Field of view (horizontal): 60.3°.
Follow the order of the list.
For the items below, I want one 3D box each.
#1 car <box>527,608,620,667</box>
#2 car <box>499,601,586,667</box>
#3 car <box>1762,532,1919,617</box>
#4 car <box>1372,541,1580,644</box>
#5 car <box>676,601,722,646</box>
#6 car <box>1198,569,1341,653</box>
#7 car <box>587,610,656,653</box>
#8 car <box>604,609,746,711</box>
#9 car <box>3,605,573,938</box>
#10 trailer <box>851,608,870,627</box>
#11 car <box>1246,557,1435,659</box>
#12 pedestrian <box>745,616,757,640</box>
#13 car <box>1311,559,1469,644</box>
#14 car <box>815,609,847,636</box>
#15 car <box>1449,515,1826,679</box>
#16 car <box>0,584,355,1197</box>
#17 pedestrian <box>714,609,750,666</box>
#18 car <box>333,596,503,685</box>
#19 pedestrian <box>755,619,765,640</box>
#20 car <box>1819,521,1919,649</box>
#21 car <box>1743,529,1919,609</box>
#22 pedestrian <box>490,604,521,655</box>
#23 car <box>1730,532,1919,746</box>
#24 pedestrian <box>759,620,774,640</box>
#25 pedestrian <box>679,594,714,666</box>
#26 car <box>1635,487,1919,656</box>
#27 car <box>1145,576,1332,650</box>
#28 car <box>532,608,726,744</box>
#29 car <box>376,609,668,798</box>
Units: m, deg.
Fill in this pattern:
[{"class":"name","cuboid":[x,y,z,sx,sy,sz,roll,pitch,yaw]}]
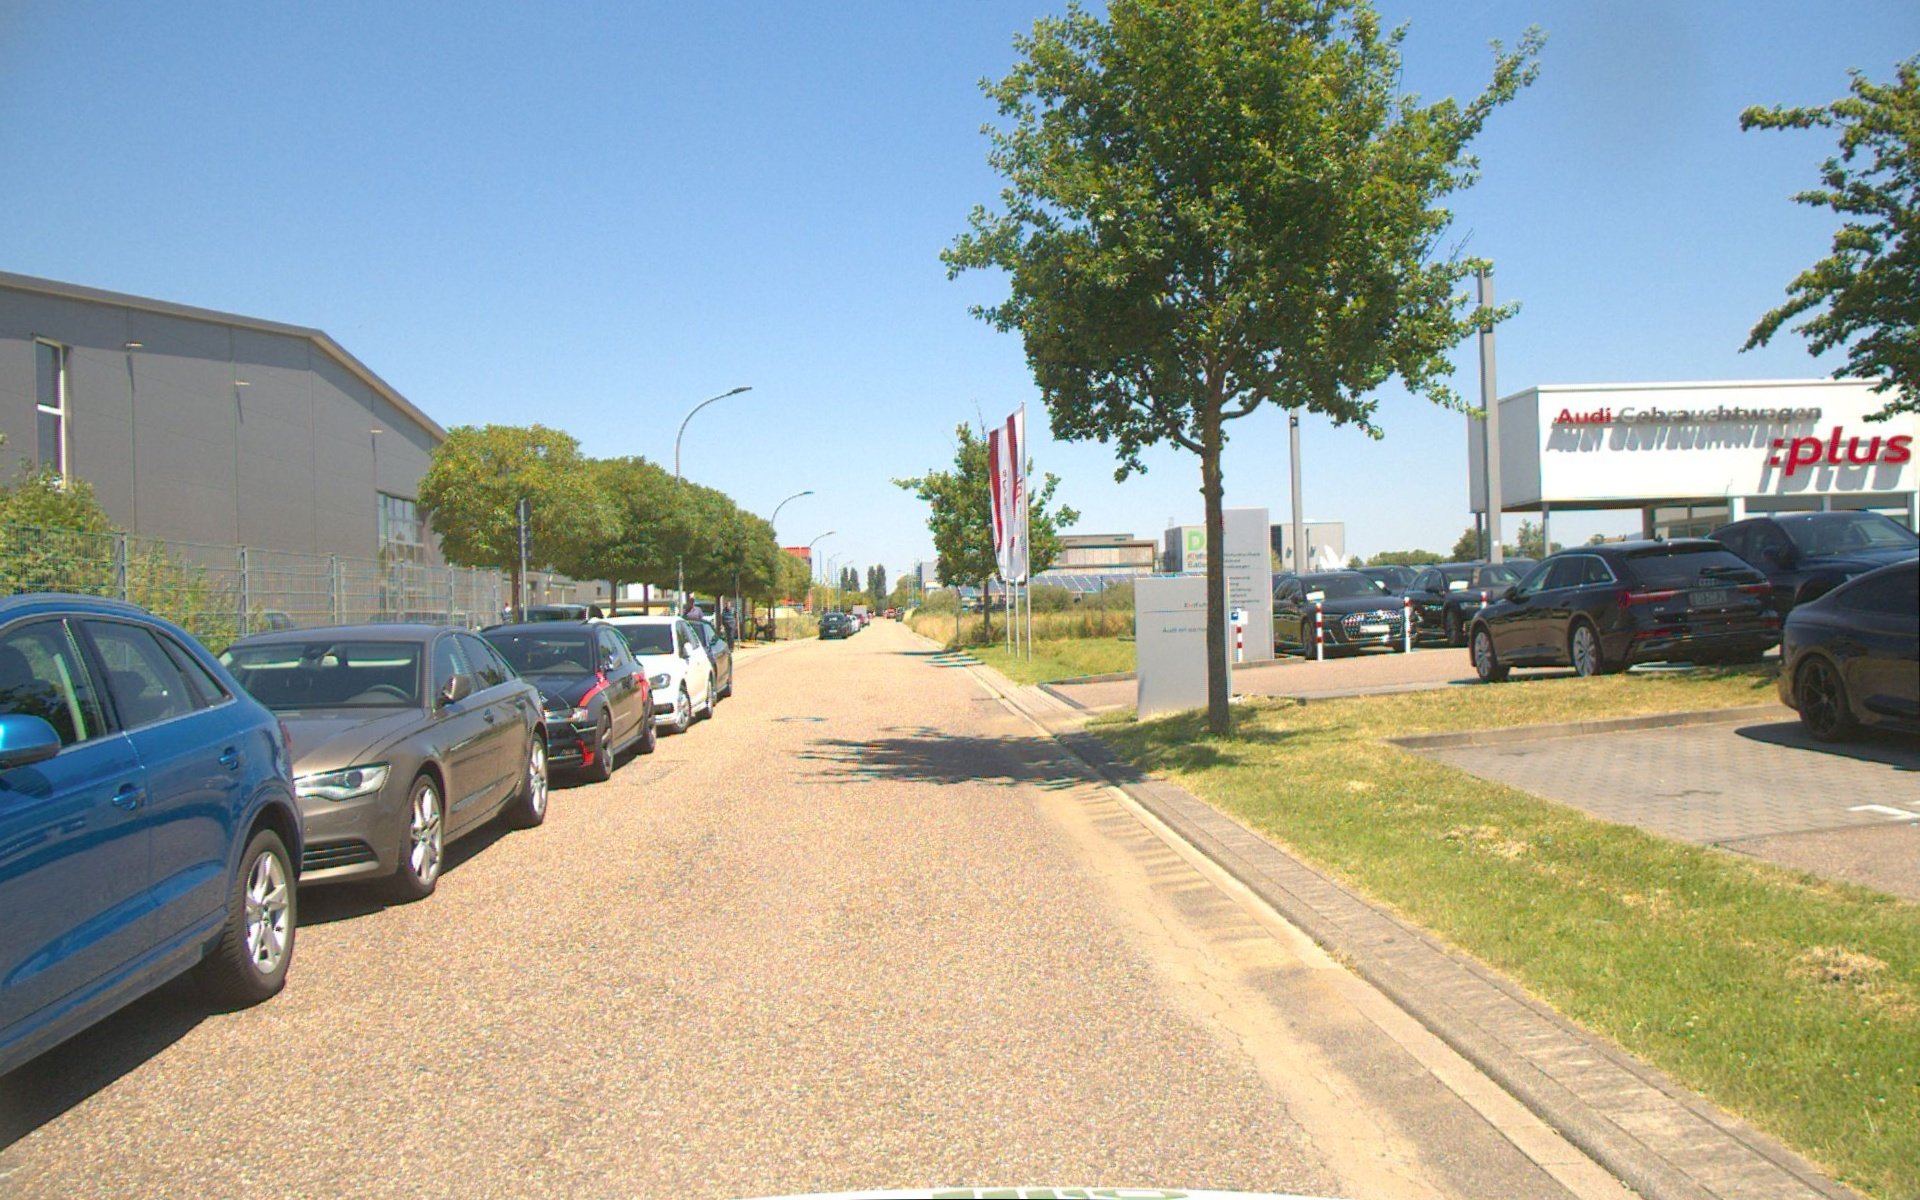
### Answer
[{"class":"car","cuboid":[-10.923,1.032,47.050,1.730,1.601,4.537,0,-1,-2]},{"class":"car","cuboid":[-10.568,0.846,42.060,1.651,1.526,3.698,-2,0,-7]},{"class":"car","cuboid":[17.582,-0.486,31.436,1.984,1.482,5.075,-3,0,-2]},{"class":"car","cuboid":[9.447,-0.113,30.815,1.859,1.600,5.473,-5,0,-2]},{"class":"car","cuboid":[-12.429,1.111,79.008,1.801,2.054,5.120,1,-1,-5]},{"class":"car","cuboid":[6.694,0.246,36.294,1.984,1.601,4.776,-3,0,-2]},{"class":"car","cuboid":[-11.844,1.087,58.070,1.730,1.479,3.838,0,-1,-2]},{"class":"car","cuboid":[-4.736,0.955,28.076,1.788,1.526,4.523,-2,0,-3]},{"class":"car","cuboid":[-3.767,0.839,10.243,1.788,1.526,4.517,-2,0,-2]},{"class":"trailer","cuboid":[-11.872,2.143,197.389,2.157,2.175,4.283,-2,-1,-3]},{"class":"car","cuboid":[6.848,0.156,30.396,1.985,1.540,5.236,-5,0,-2]},{"class":"pedestrian","cuboid":[-10.766,1.450,85.145,0.468,1.170,0.555,1,-3,7]},{"class":"car","cuboid":[9.326,0.049,36.330,1.984,1.617,4.776,-3,0,-2]},{"class":"car","cuboid":[-8.025,1.417,103.416,1.889,1.595,4.186,-2,0,-4]},{"class":"car","cuboid":[7.333,0.061,18.585,1.922,1.482,4.982,-3,-2,-3]},{"class":"car","cuboid":[-3.471,0.795,5.112,1.788,1.598,4.383,-2,0,-4]},{"class":"pedestrian","cuboid":[-8.020,1.314,58.246,0.826,2.007,0.961,-1,-1,37]},{"class":"car","cuboid":[-10.045,0.722,30.992,1.787,1.526,4.326,0,0,-1]},{"class":"pedestrian","cuboid":[-11.668,1.717,96.541,0.495,1.212,0.753,1,-1,0]},{"class":"car","cuboid":[12.231,-0.261,18.955,1.922,1.482,4.982,-3,-2,-3]},{"class":"car","cuboid":[20.036,-0.669,37.545,1.985,1.617,4.776,-3,0,-3]},{"class":"pedestrian","cuboid":[-15.598,1.016,56.750,0.823,1.743,0.964,0,-1,-3]},{"class":"car","cuboid":[7.466,0.218,11.325,1.923,1.390,4.718,-5,1,-3]},{"class":"pedestrian","cuboid":[-11.185,1.748,95.601,0.735,1.118,0.646,1,-1,1]},{"class":"pedestrian","cuboid":[-6.894,0.780,43.376,0.729,1.833,1.134,0,-1,-1]},{"class":"car","cuboid":[9.852,-0.237,18.930,1.922,1.626,4.982,-3,-2,-3]},{"class":"car","cuboid":[7.268,0.340,43.474,4.440,1.722,2.029,-2,0,-5]},{"class":"car","cuboid":[-4.213,0.911,21.668,1.788,1.526,4.256,-2,0,-2]},{"class":"car","cuboid":[-4.107,0.890,16.278,1.788,1.526,4.517,-2,0,-2]}]
